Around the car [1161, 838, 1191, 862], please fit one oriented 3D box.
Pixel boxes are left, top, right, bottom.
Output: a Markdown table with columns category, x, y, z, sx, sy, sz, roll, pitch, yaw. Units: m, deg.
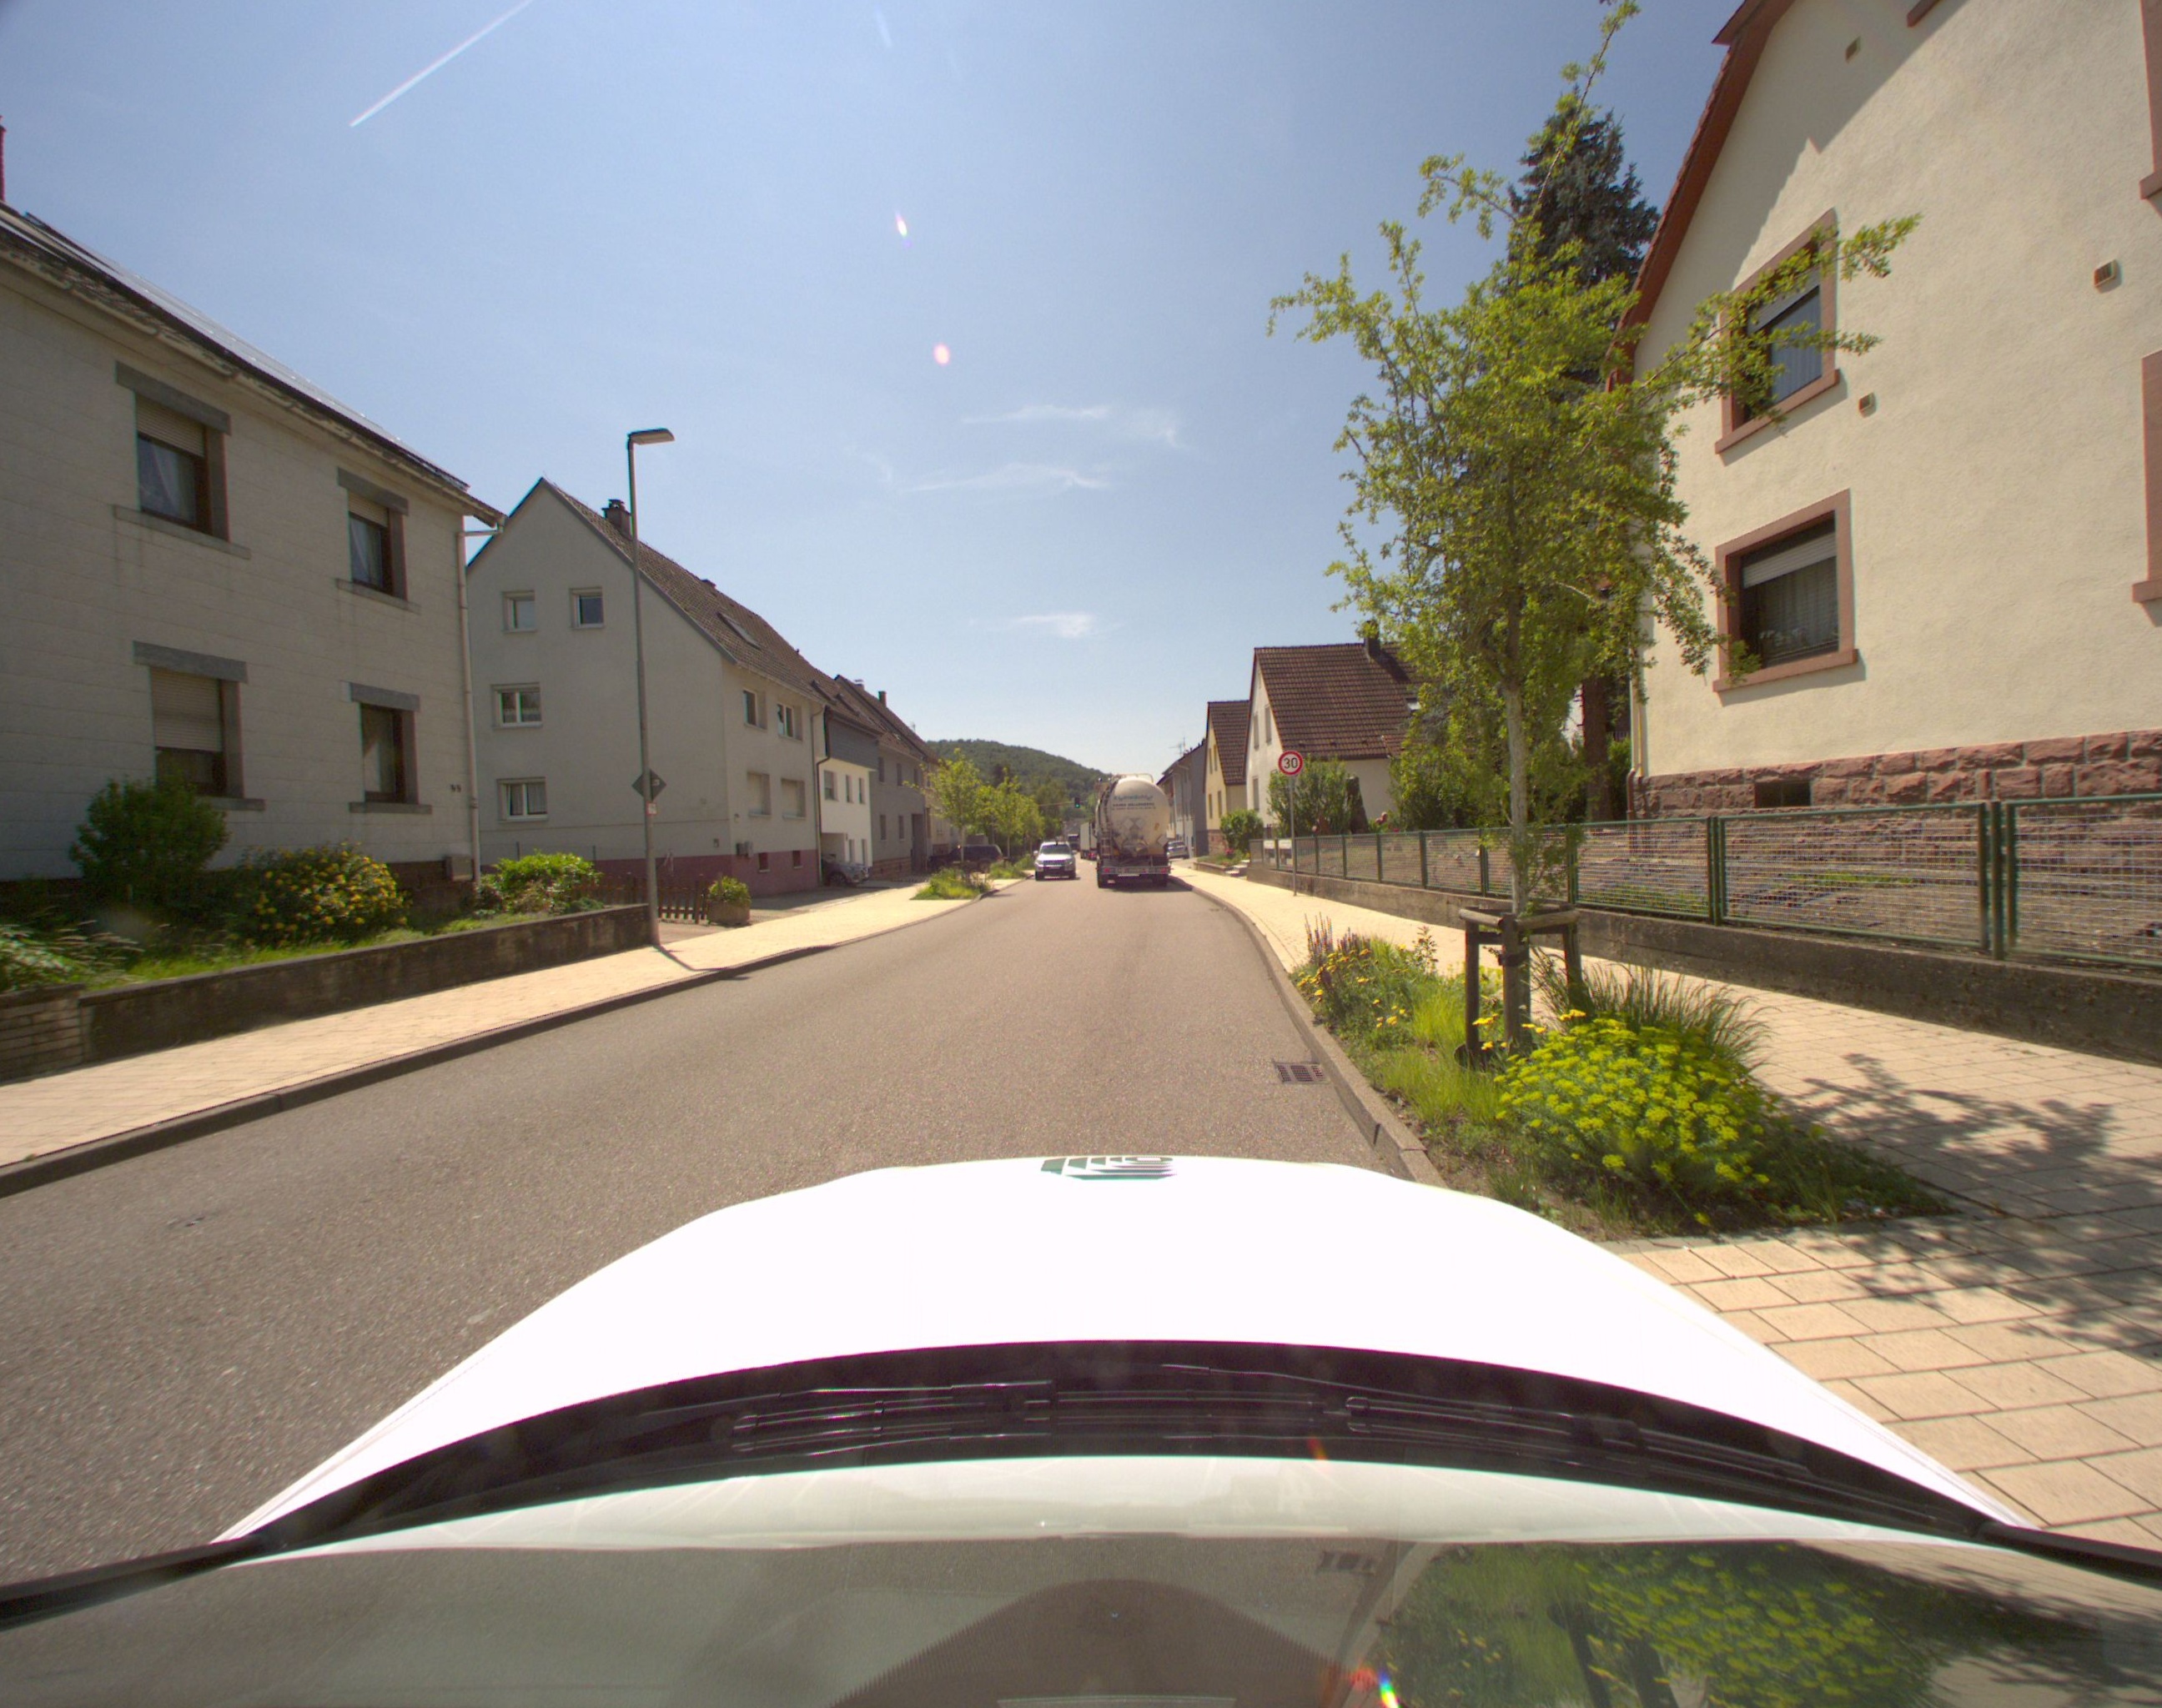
| category | x | y | z | sx | sy | sz | roll | pitch | yaw |
| --- | --- | --- | --- | --- | --- | --- | --- | --- | --- |
| car | 7.064 | -0.322 | 61.162 | 1.784 | 1.541 | 4.522 | -5 | 0 | 2 |

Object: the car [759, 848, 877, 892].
| category | x | y | z | sx | sy | sz | roll | pitch | yaw |
| --- | --- | --- | --- | --- | --- | --- | --- | --- | --- |
| car | -10.313 | 0.605 | 32.088 | 3.973 | 1.545 | 1.833 | -1 | 1 | 1 |

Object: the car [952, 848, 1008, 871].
| category | x | y | z | sx | sy | sz | roll | pitch | yaw |
| --- | --- | --- | --- | --- | --- | --- | --- | --- | --- |
| car | -6.835 | 0.378 | 55.038 | 3.505 | 1.439 | 1.710 | -2 | 0 | 35 |

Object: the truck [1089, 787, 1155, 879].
| category | x | y | z | sx | sy | sz | roll | pitch | yaw |
| --- | --- | --- | --- | --- | --- | --- | --- | --- | --- |
| truck | 1.841 | -0.931 | 38.533 | 2.798 | 3.936 | 6.100 | -1 | 0 | 1 |

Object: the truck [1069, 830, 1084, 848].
| category | x | y | z | sx | sy | sz | roll | pitch | yaw |
| --- | --- | --- | --- | --- | --- | --- | --- | --- | --- |
| truck | -0.842 | -2.994 | 161.868 | 2.719 | 3.371 | 8.636 | -1 | 1 | 1 |

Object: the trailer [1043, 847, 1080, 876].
| category | x | y | z | sx | sy | sz | roll | pitch | yaw |
| --- | --- | --- | --- | --- | --- | --- | --- | --- | --- |
| trailer | -1.024 | 0.361 | 44.302 | 1.568 | 1.396 | 4.407 | -2 | 1 | 4 |

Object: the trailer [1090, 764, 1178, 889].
| category | x | y | z | sx | sy | sz | roll | pitch | yaw |
| --- | --- | --- | --- | --- | --- | --- | --- | --- | --- |
| trailer | 1.791 | -0.940 | 31.718 | 2.787 | 4.000 | 10.324 | -1 | 0 | 0 |

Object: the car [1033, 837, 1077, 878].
| category | x | y | z | sx | sy | sz | roll | pitch | yaw |
| --- | --- | --- | --- | --- | --- | --- | --- | --- | --- |
| car | -1.214 | 0.146 | 39.901 | 1.883 | 1.861 | 4.578 | -1 | 0 | 1 |

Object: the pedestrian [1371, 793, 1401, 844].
| category | x | y | z | sx | sy | sz | roll | pitch | yaw |
| --- | --- | --- | --- | --- | --- | --- | --- | --- | --- |
| pedestrian | 10.107 | -1.155 | 26.993 | 0.602 | 1.615 | 0.552 | -7 | 0 | 1 |

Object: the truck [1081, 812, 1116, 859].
| category | x | y | z | sx | sy | sz | roll | pitch | yaw |
| --- | --- | --- | --- | --- | --- | --- | --- | --- | --- |
| truck | 1.729 | -1.854 | 87.642 | 2.841 | 4.679 | 11.325 | 0 | -1 | -3 |

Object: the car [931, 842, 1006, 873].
| category | x | y | z | sx | sy | sz | roll | pitch | yaw |
| --- | --- | --- | --- | --- | --- | --- | --- | --- | --- |
| car | -6.985 | 0.185 | 50.853 | 4.380 | 1.750 | 1.878 | -2 | 0 | 0 |
